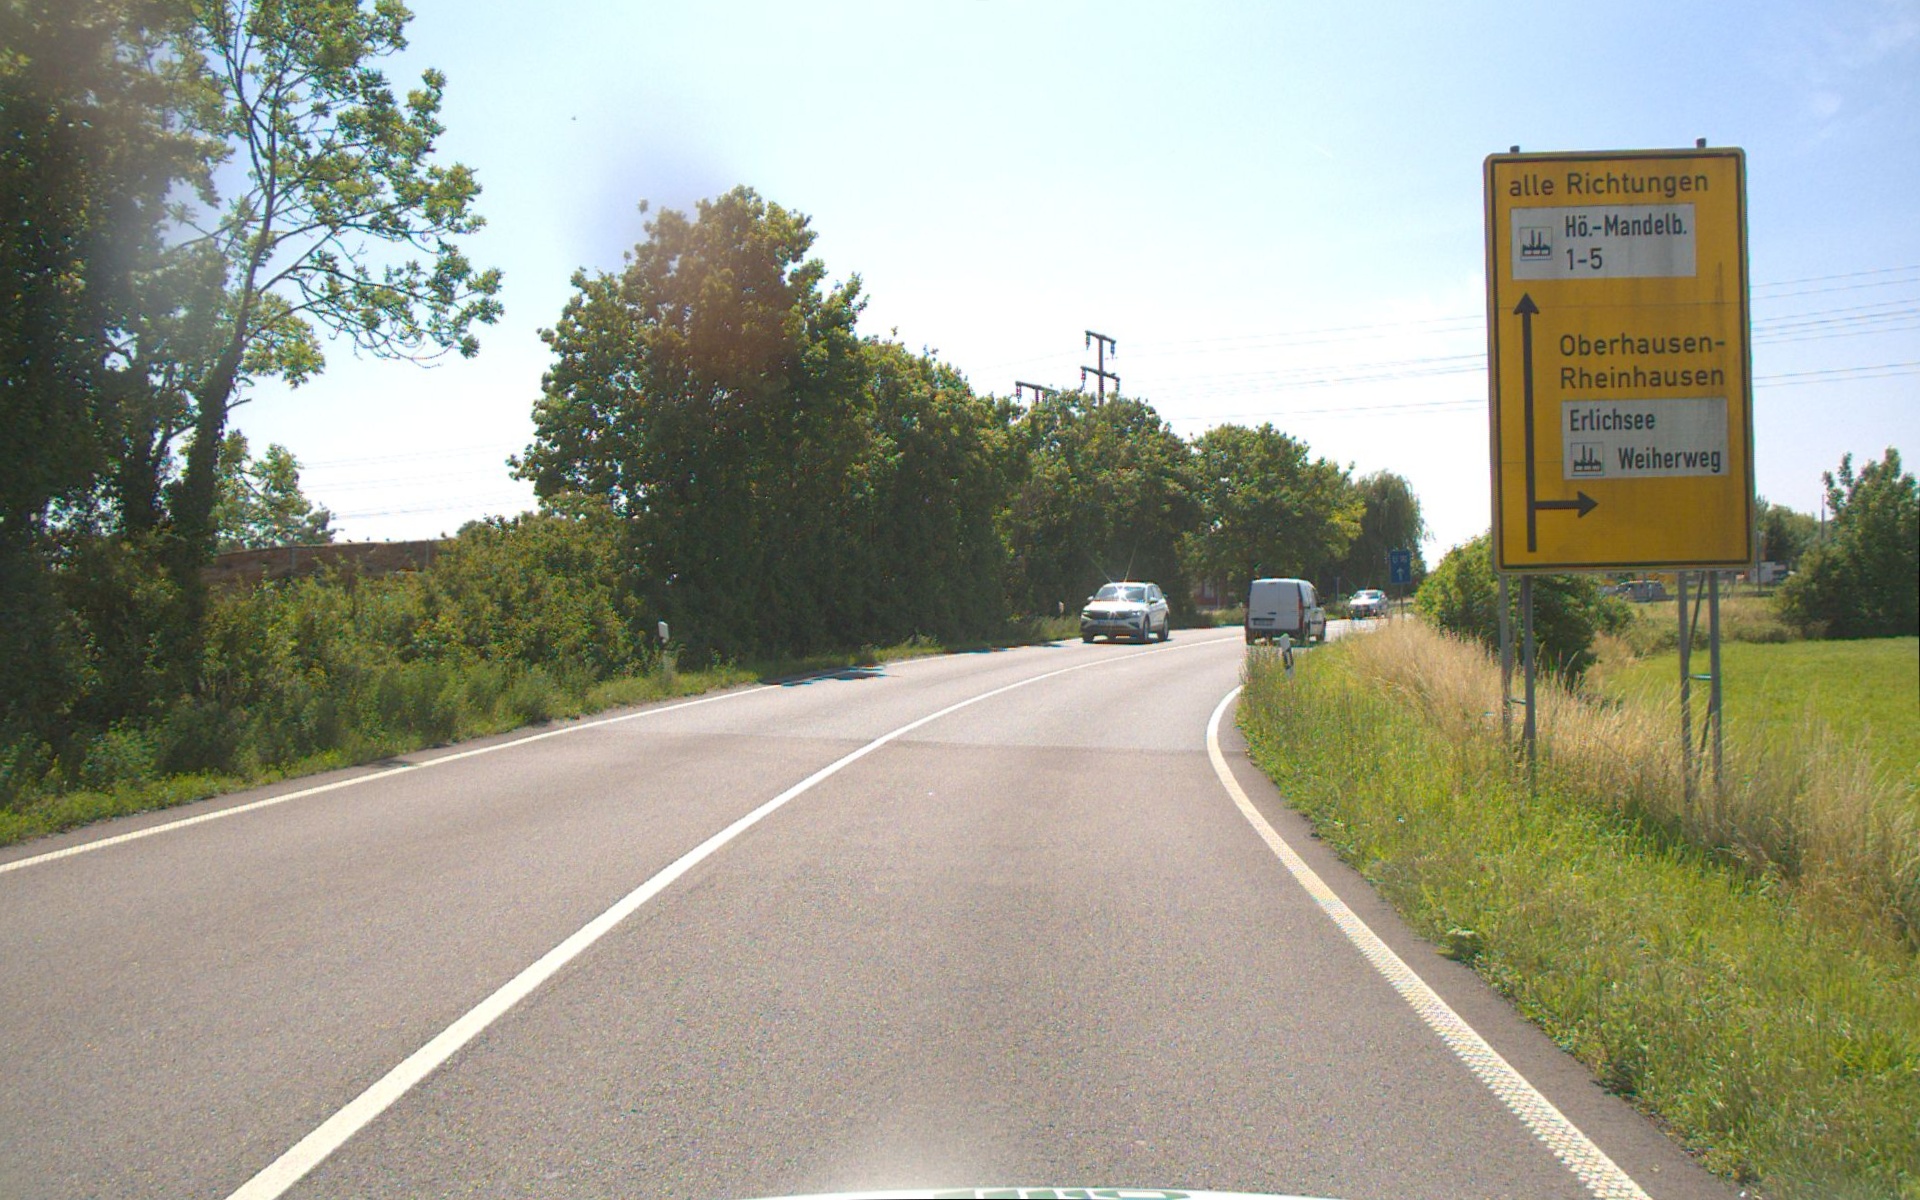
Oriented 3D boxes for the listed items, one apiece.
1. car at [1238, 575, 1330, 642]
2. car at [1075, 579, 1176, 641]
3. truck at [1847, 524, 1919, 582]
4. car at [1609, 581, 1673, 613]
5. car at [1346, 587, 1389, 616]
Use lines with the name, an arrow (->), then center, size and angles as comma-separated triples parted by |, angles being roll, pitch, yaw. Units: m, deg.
car -> 9.183, 0.237, 46.635 | 1.864, 1.763, 3.822 | -1, -1, 21
car -> 4.757, 0.258, 46.902 | 1.816, 1.629, 4.779 | 1, 1, 19
truck -> 56.343, -2.663, 95.363 | 8.588, 3.192, 3.110 | 0, -1, 6
car -> 45.114, -0.163, 109.622 | 3.906, 2.049, 1.999 | 0, -2, 23
car -> 23.129, 0.055, 93.748 | 1.706, 1.617, 3.999 | 1, 1, 23
